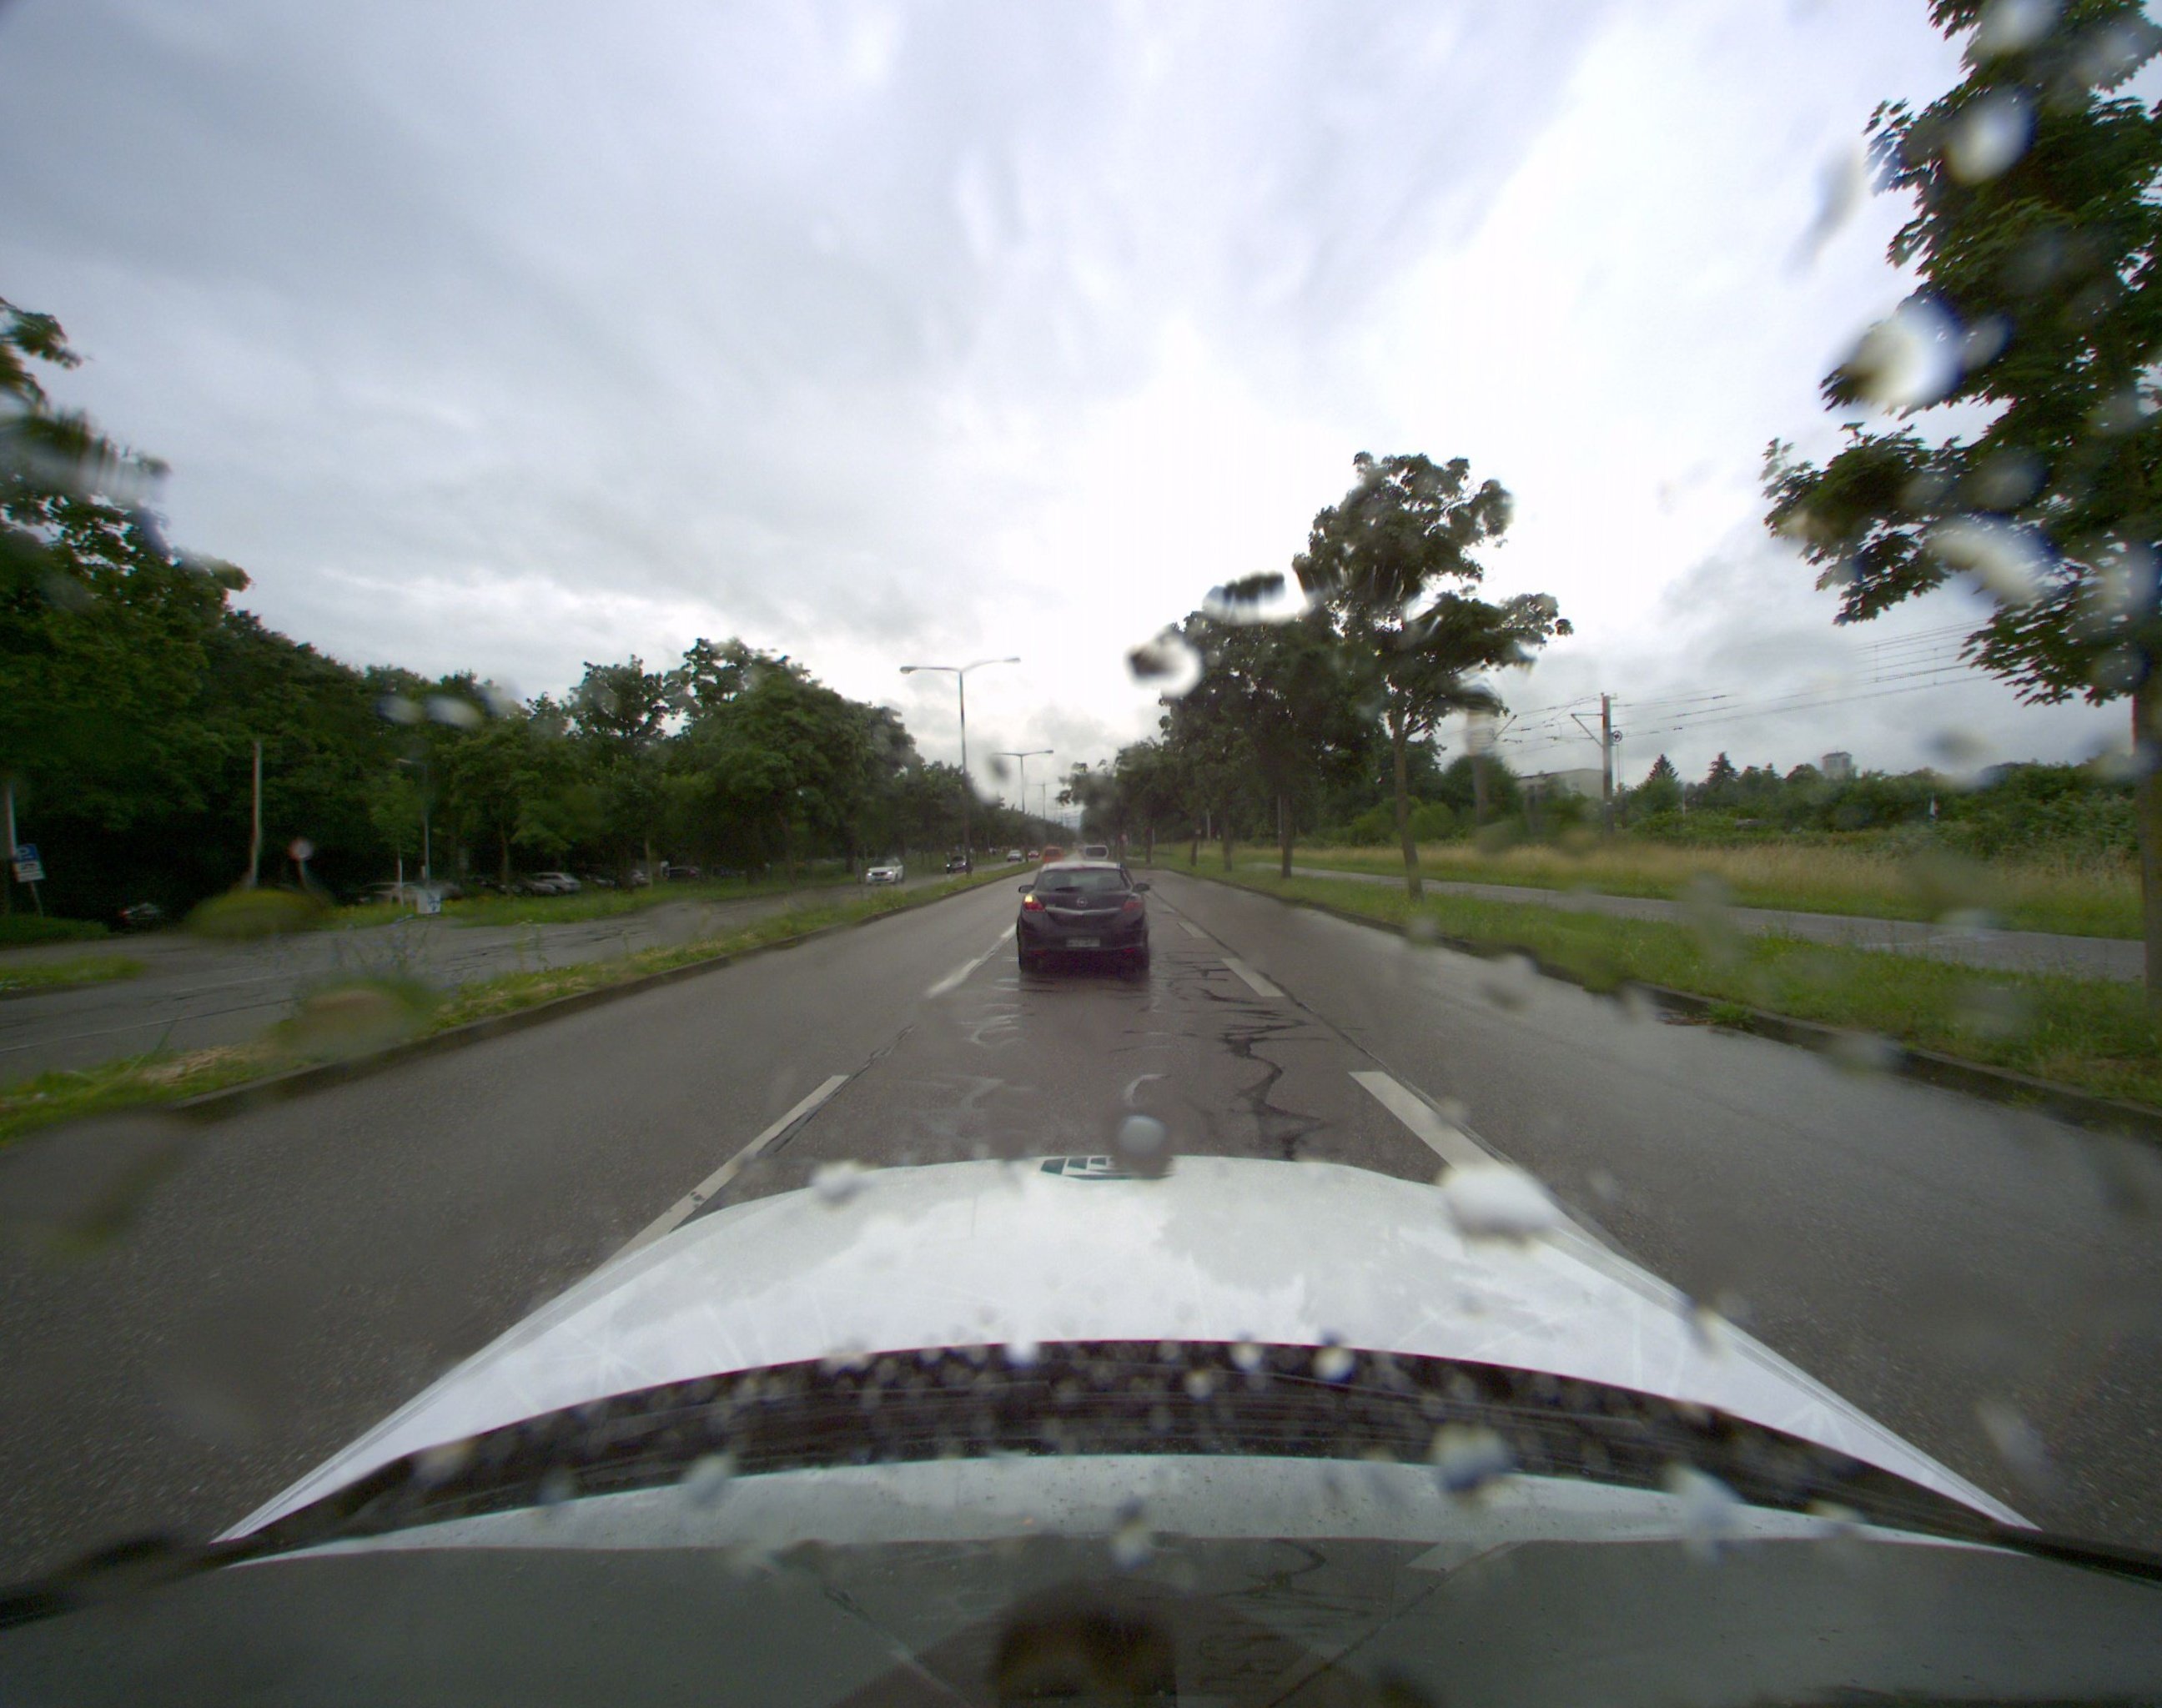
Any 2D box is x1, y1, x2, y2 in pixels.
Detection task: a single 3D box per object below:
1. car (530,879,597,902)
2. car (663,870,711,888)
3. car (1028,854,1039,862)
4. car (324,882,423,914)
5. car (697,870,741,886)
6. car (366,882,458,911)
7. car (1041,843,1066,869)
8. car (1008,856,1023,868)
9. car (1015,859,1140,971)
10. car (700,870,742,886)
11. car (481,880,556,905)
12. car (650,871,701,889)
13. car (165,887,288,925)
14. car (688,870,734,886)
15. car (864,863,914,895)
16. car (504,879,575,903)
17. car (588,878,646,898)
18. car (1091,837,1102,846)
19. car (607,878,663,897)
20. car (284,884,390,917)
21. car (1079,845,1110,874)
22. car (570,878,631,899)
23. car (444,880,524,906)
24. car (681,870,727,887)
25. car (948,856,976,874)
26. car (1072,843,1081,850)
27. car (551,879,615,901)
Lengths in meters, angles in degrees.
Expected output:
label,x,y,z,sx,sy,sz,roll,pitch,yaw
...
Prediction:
label,x,y,z,sx,sy,sz,roll,pitch,yaw
car,-37.885,2.644,59.628,3.827,1.452,1.523,-2,0,-3
car,-37.265,2.348,77.086,3.840,1.452,1.518,-2,0,-14
car,-9.416,0.768,160.201,1.714,1.529,3.811,-2,0,2
car,-38.282,2.368,44.126,3.827,1.452,1.523,-2,0,-3
car,-37.430,2.497,84.317,3.840,1.452,1.518,-2,0,-14
car,-38.399,2.417,46.807,3.827,1.452,1.523,-2,0,-3
car,-2.161,0.191,65.037,1.729,2.019,4.849,1,-1,1
car,-9.497,1.161,118.719,1.714,1.529,3.811,-2,0,2
car,0.088,0.752,11.674,1.456,1.329,3.762,-1,-1,5
car,-38.353,2.527,86.861,3.840,1.452,1.518,-2,0,-14
car,-37.653,2.540,54.598,3.827,1.452,1.523,-2,0,-3
car,-37.193,2.401,74.713,3.836,1.452,1.519,-2,0,-10
car,-38.223,2.309,36.482,3.725,1.426,1.486,-2,0,-3
car,-37.084,2.380,81.674,3.840,1.452,1.518,-2,0,-14
car,-10.719,1.355,45.738,1.714,1.529,3.811,-2,1,2
car,-37.906,2.586,57.021,3.827,1.452,1.523,-2,0,-3
car,-38.179,2.791,67.023,3.827,1.452,1.523,-2,0,-3
car,3.730,-3.001,193.364,2.507,2.052,5.296,1,1,2
car,-38.015,2.834,69.431,3.827,1.452,1.523,-2,0,-3
car,-38.036,2.353,41.679,3.827,1.452,1.523,-2,0,-3
car,0.928,0.410,60.139,2.053,1.974,4.605,-1,-1,-2
car,-38.016,2.743,64.432,3.827,1.452,1.523,-2,0,-3
car,-38.084,2.482,52.004,3.827,1.452,1.523,-2,0,-3
car,-36.943,2.365,79.861,3.840,1.452,1.518,-2,0,-14
car,-10.399,0.942,71.357,1.714,1.529,3.811,-2,0,2
car,-1.130,-2.074,222.826,1.984,1.879,4.005,-1,-1,5
car,-37.868,2.700,61.959,3.827,1.452,1.523,-2,0,-3
